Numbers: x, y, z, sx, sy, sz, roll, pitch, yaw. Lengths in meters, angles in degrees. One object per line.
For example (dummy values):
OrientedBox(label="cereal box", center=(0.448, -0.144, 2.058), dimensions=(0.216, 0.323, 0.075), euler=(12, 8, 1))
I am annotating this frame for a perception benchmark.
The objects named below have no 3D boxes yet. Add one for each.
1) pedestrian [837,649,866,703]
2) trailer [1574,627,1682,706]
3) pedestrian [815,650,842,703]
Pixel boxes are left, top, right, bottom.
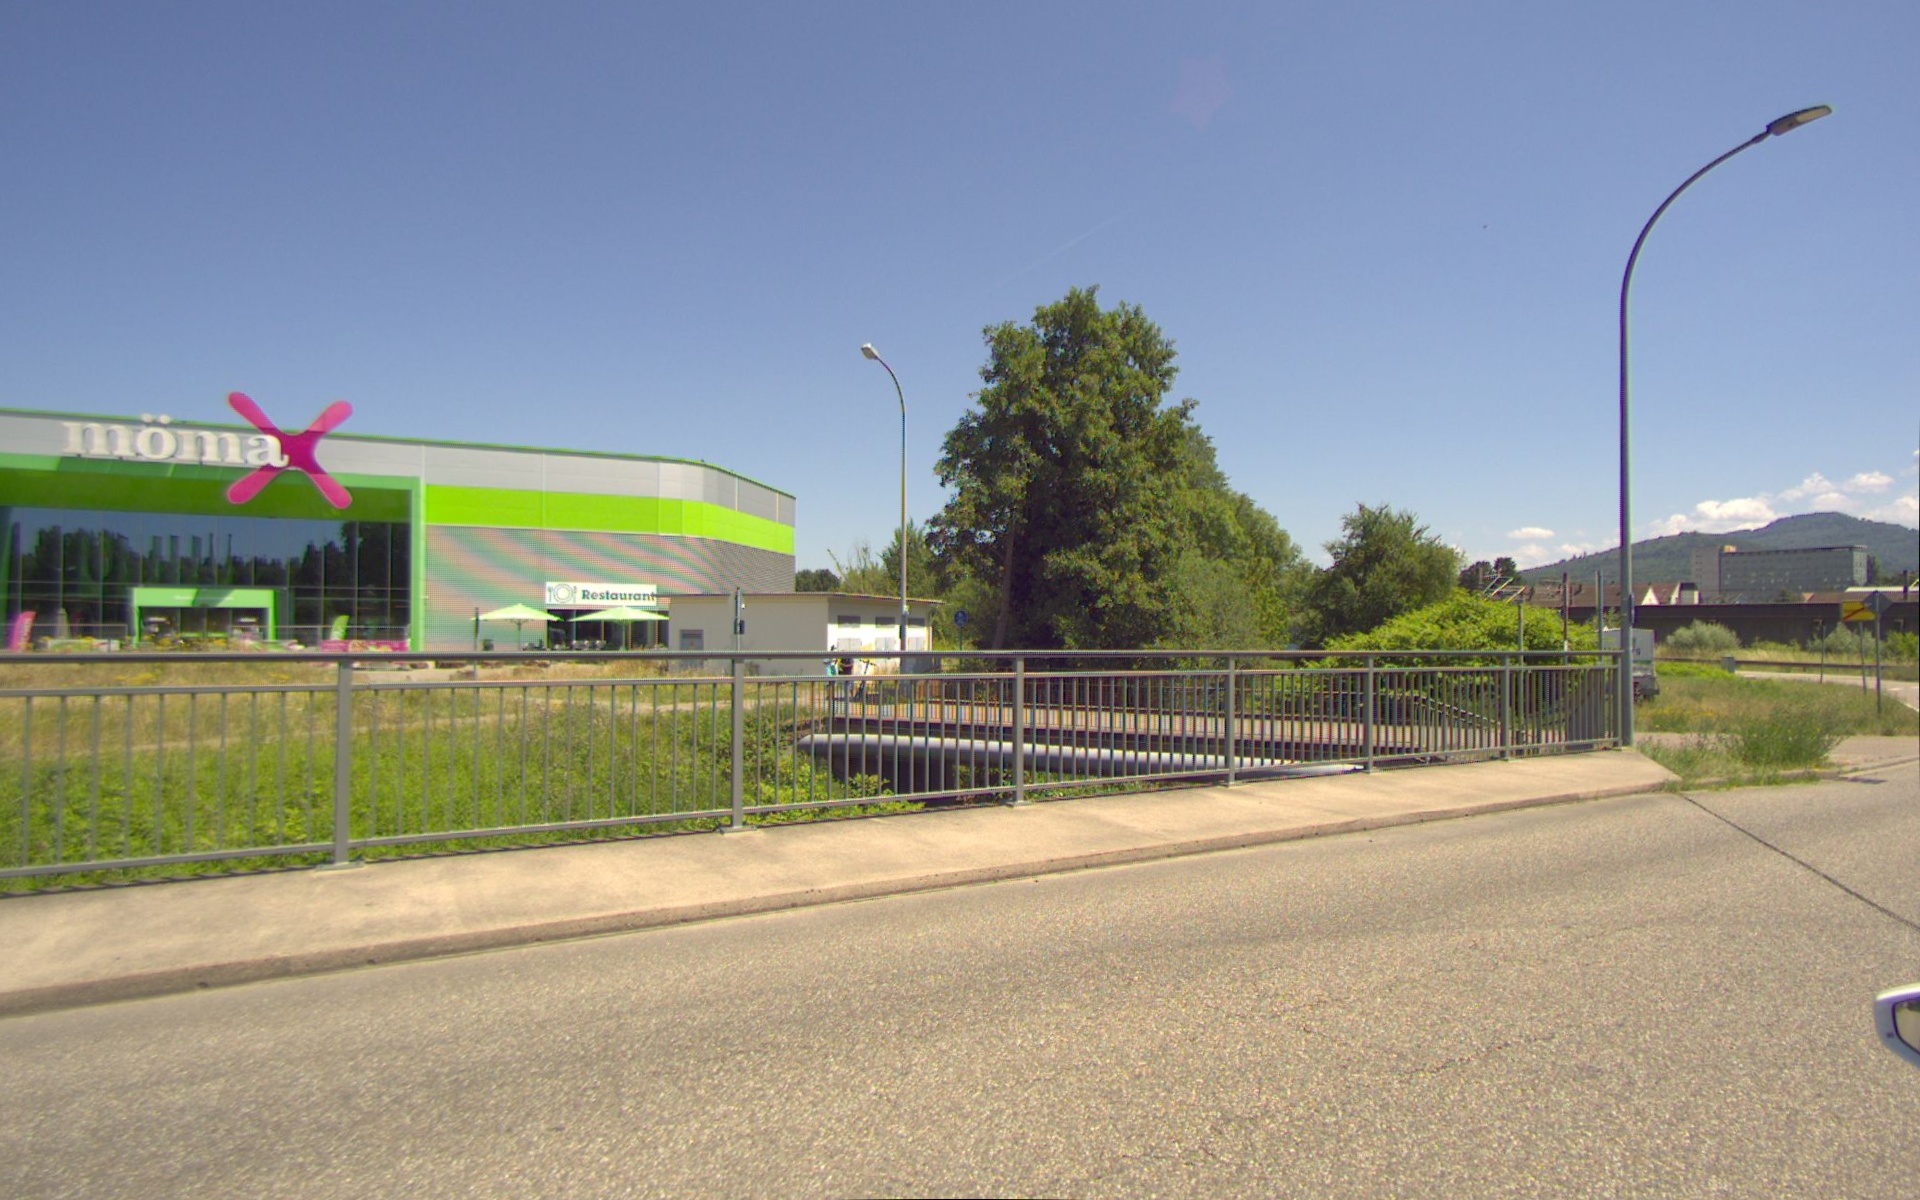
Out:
OrientedBox(label="pedestrian", center=(-3.521, 2.452, 32.658), dimensions=(0.619, 1.696, 0.595), euler=(3, 0, 40))
OrientedBox(label="trailer", center=(19.120, 1.836, 28.914), dimensions=(1.820, 2.040, 3.958), euler=(2, -1, 23))
OrientedBox(label="pedestrian", center=(-4.281, 2.481, 32.721), dimensions=(0.507, 1.696, 0.626), euler=(3, 0, 39))
